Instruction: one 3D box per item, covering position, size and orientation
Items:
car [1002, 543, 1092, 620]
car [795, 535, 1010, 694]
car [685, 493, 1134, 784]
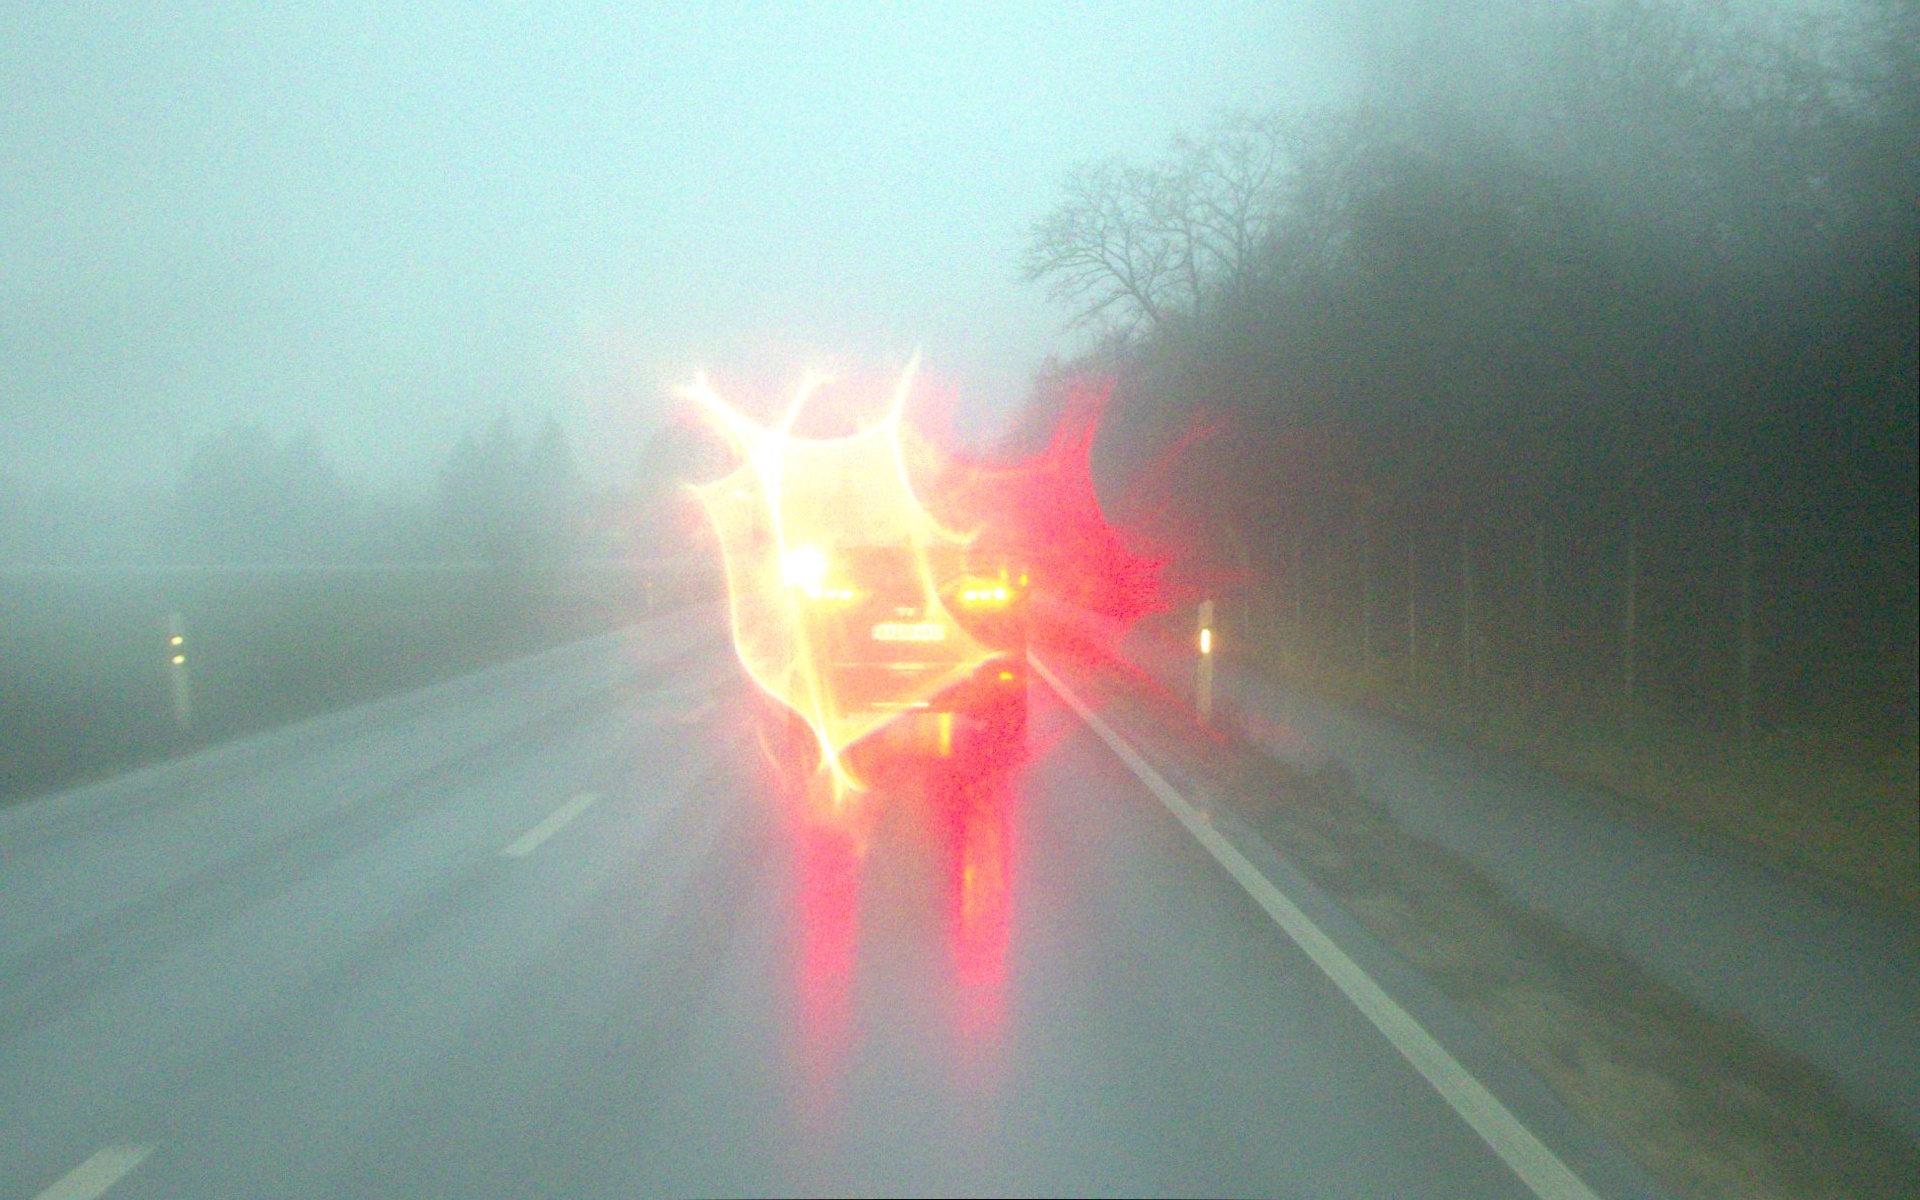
[{"bbox_3d":[2.028,-0.437,80.988,1.928,1.744,4.000,1,0,-1],"label":"car"},{"bbox_3d":[-0.785,0.120,47.963,2.756,2.028,6.591,-1,1,-1],"label":"car"},{"bbox_3d":[-0.399,0.207,27.878,3.164,2.028,6.852,-1,1,-1],"label":"car"}]
